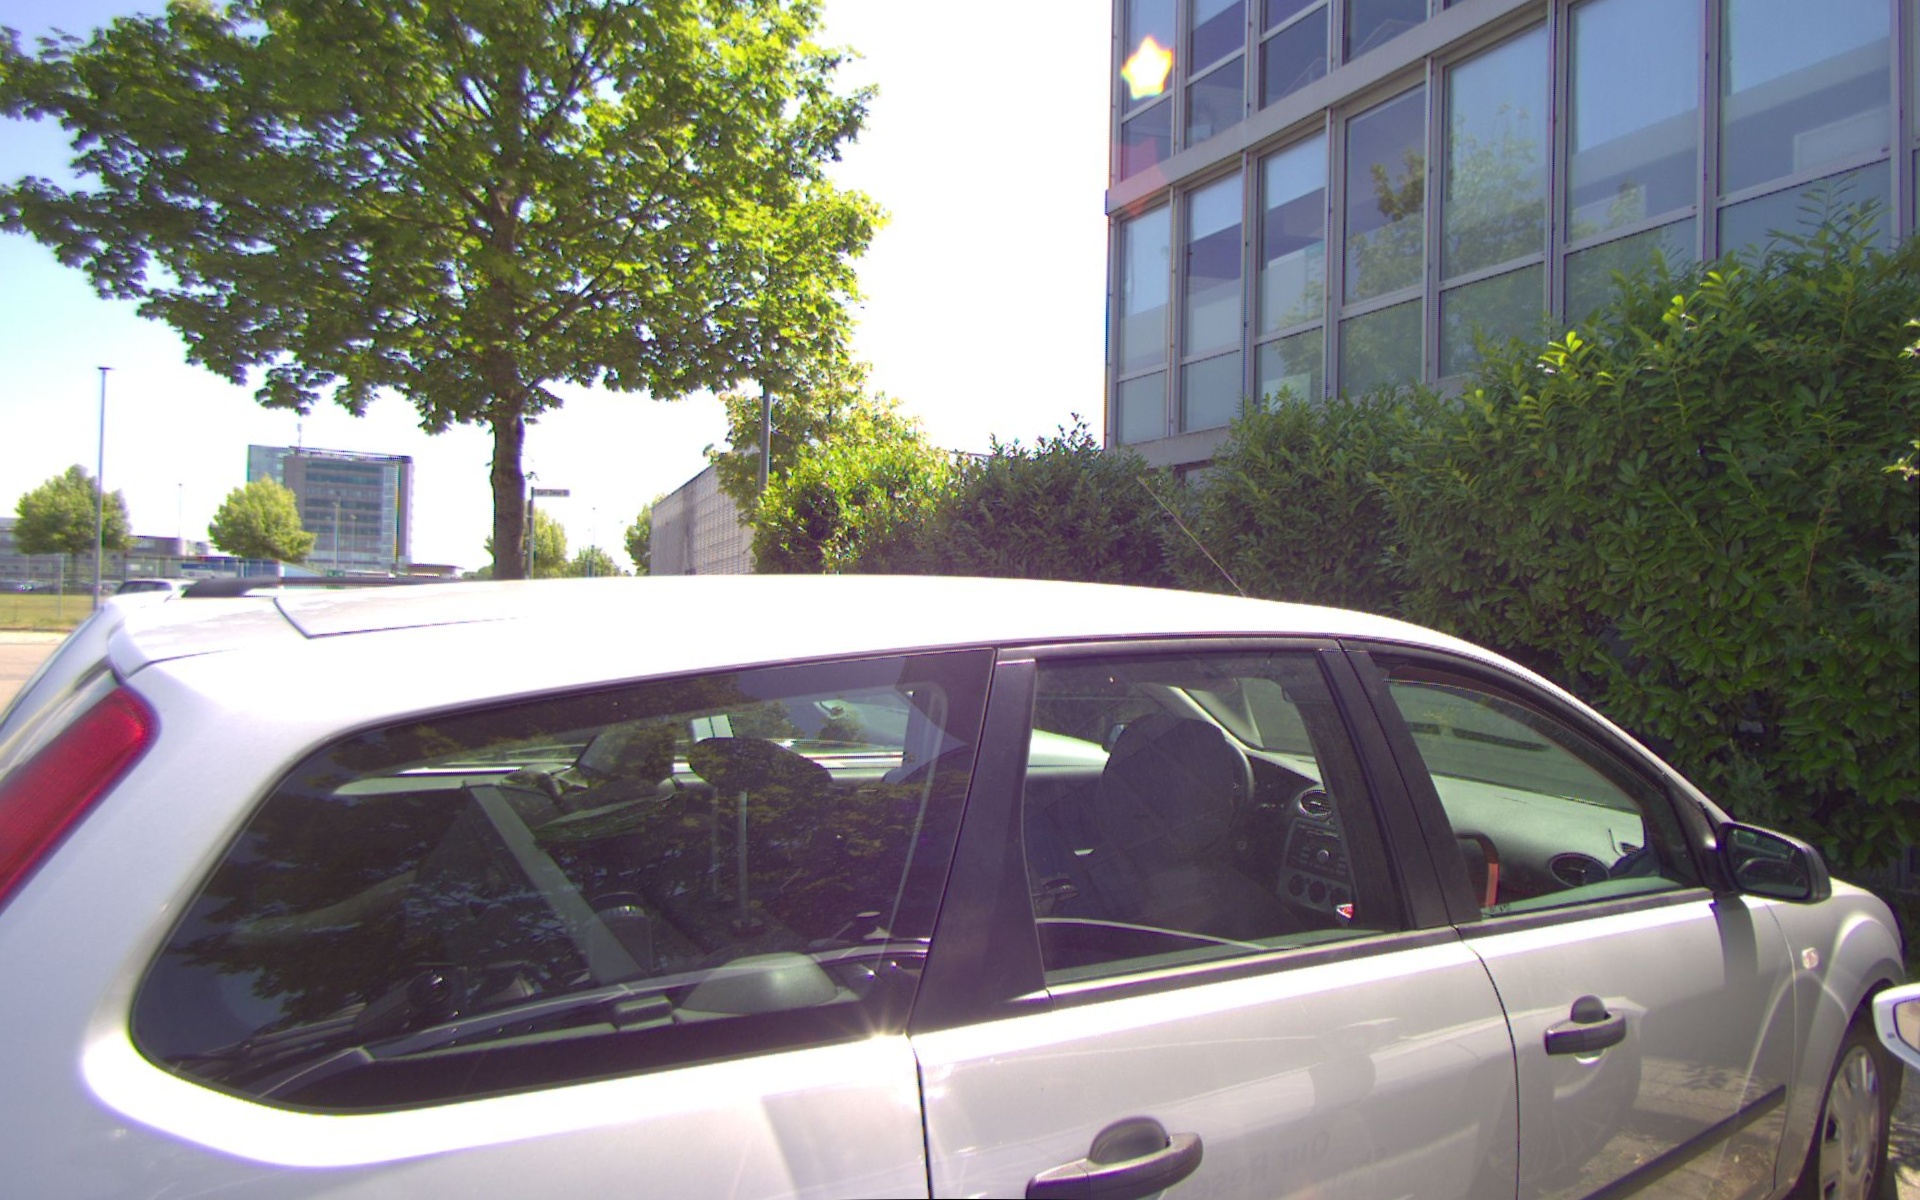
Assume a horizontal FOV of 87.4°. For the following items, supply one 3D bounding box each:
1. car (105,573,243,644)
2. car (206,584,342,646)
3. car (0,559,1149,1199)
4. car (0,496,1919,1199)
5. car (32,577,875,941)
[{"bbox_3d":[-21.144,0.224,27.204,1.745,1.761,3.982,1,0,-20],"label":"car"},{"bbox_3d":[-18.723,0.394,27.620,1.624,1.542,3.991,1,0,-11],"label":"car"},{"bbox_3d":[-1.271,0.684,3.762,3.851,1.499,1.637,1,0,-34],"label":"car"},{"bbox_3d":[0.380,0.719,2.146,4.299,1.499,1.710,1,0,-31],"label":"car"},{"bbox_3d":[-2.579,0.675,5.818,3.851,1.468,1.637,1,0,-34],"label":"car"}]
